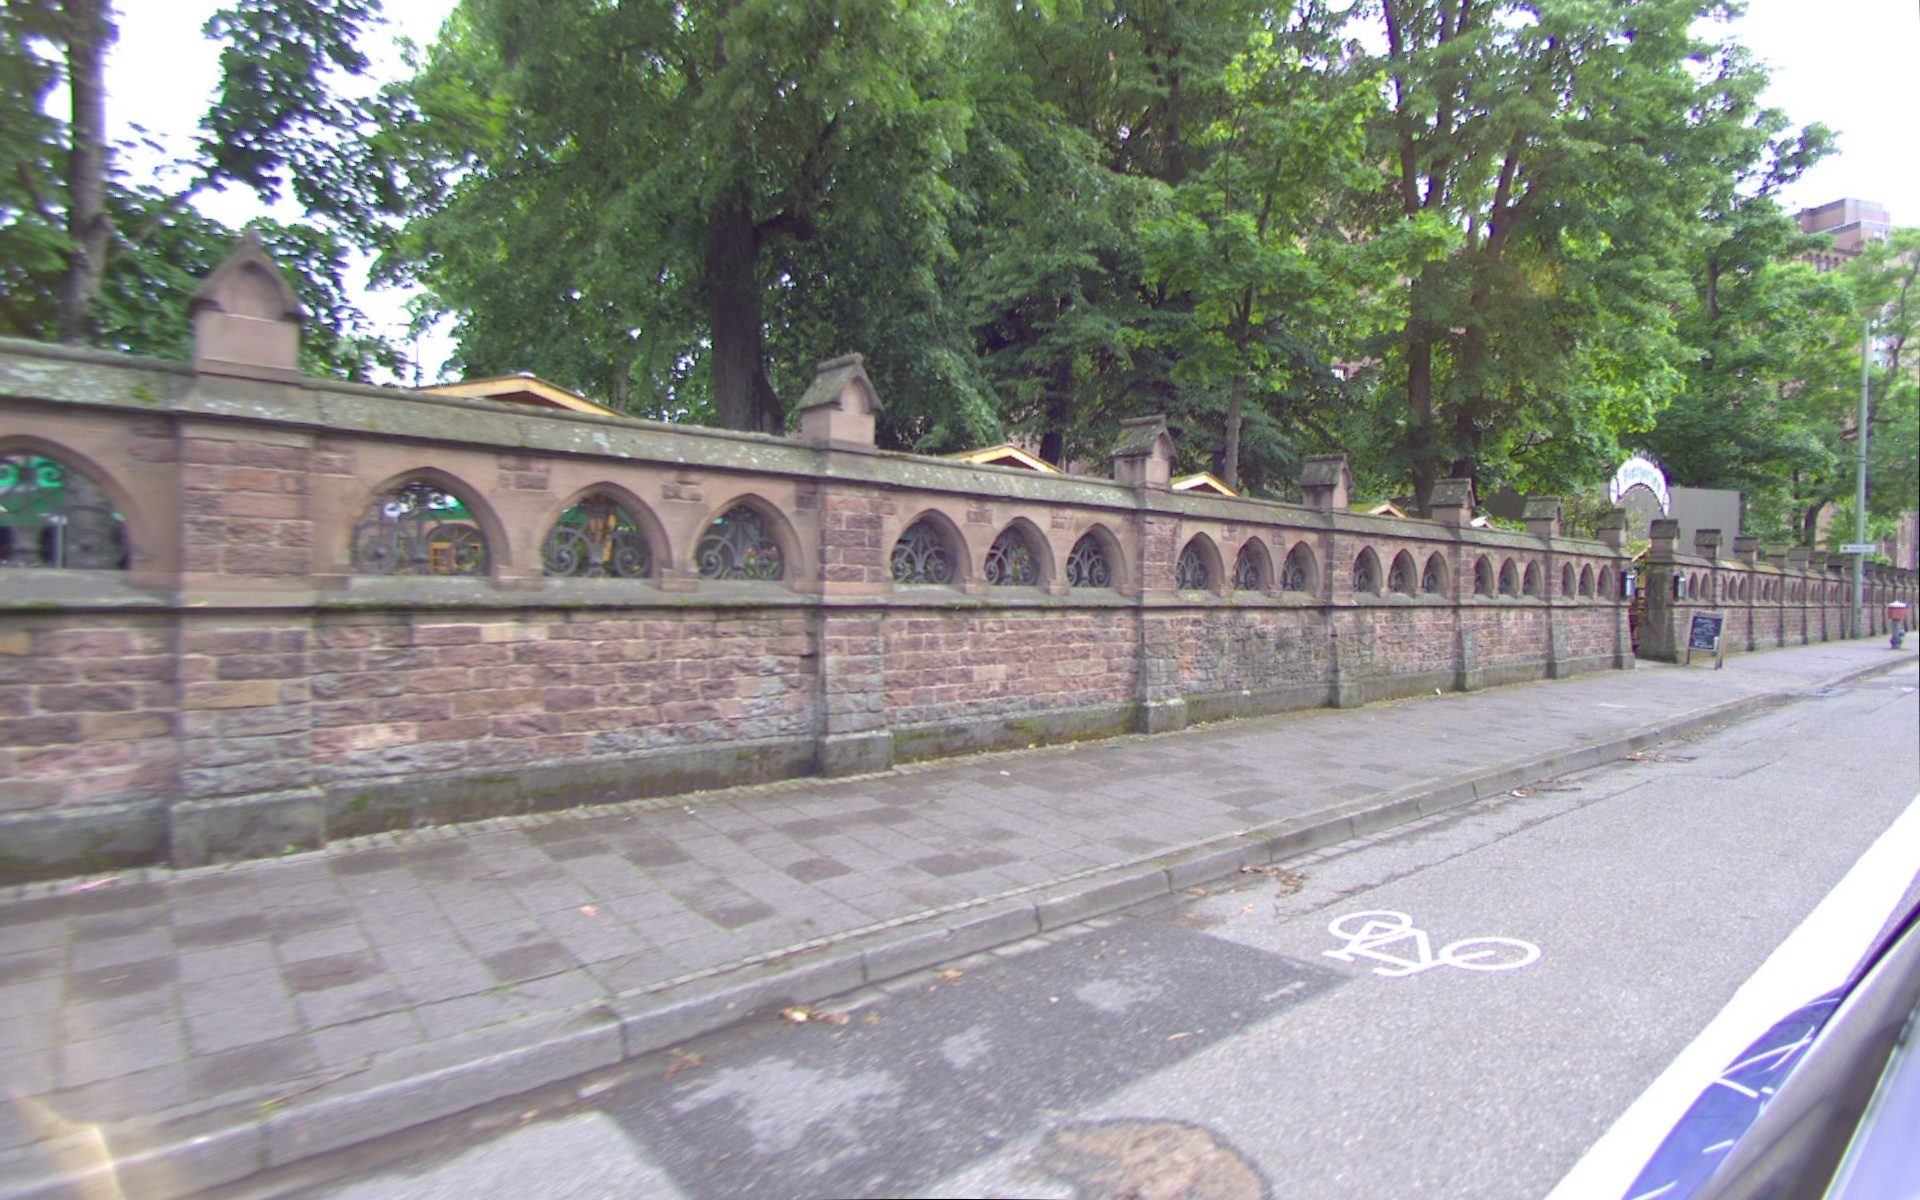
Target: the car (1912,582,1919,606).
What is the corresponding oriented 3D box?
[{"bbox_3d":[68.981,-0.296,70.075,1.960,1.637,4.008,0,4,-29],"label":"car"}]
